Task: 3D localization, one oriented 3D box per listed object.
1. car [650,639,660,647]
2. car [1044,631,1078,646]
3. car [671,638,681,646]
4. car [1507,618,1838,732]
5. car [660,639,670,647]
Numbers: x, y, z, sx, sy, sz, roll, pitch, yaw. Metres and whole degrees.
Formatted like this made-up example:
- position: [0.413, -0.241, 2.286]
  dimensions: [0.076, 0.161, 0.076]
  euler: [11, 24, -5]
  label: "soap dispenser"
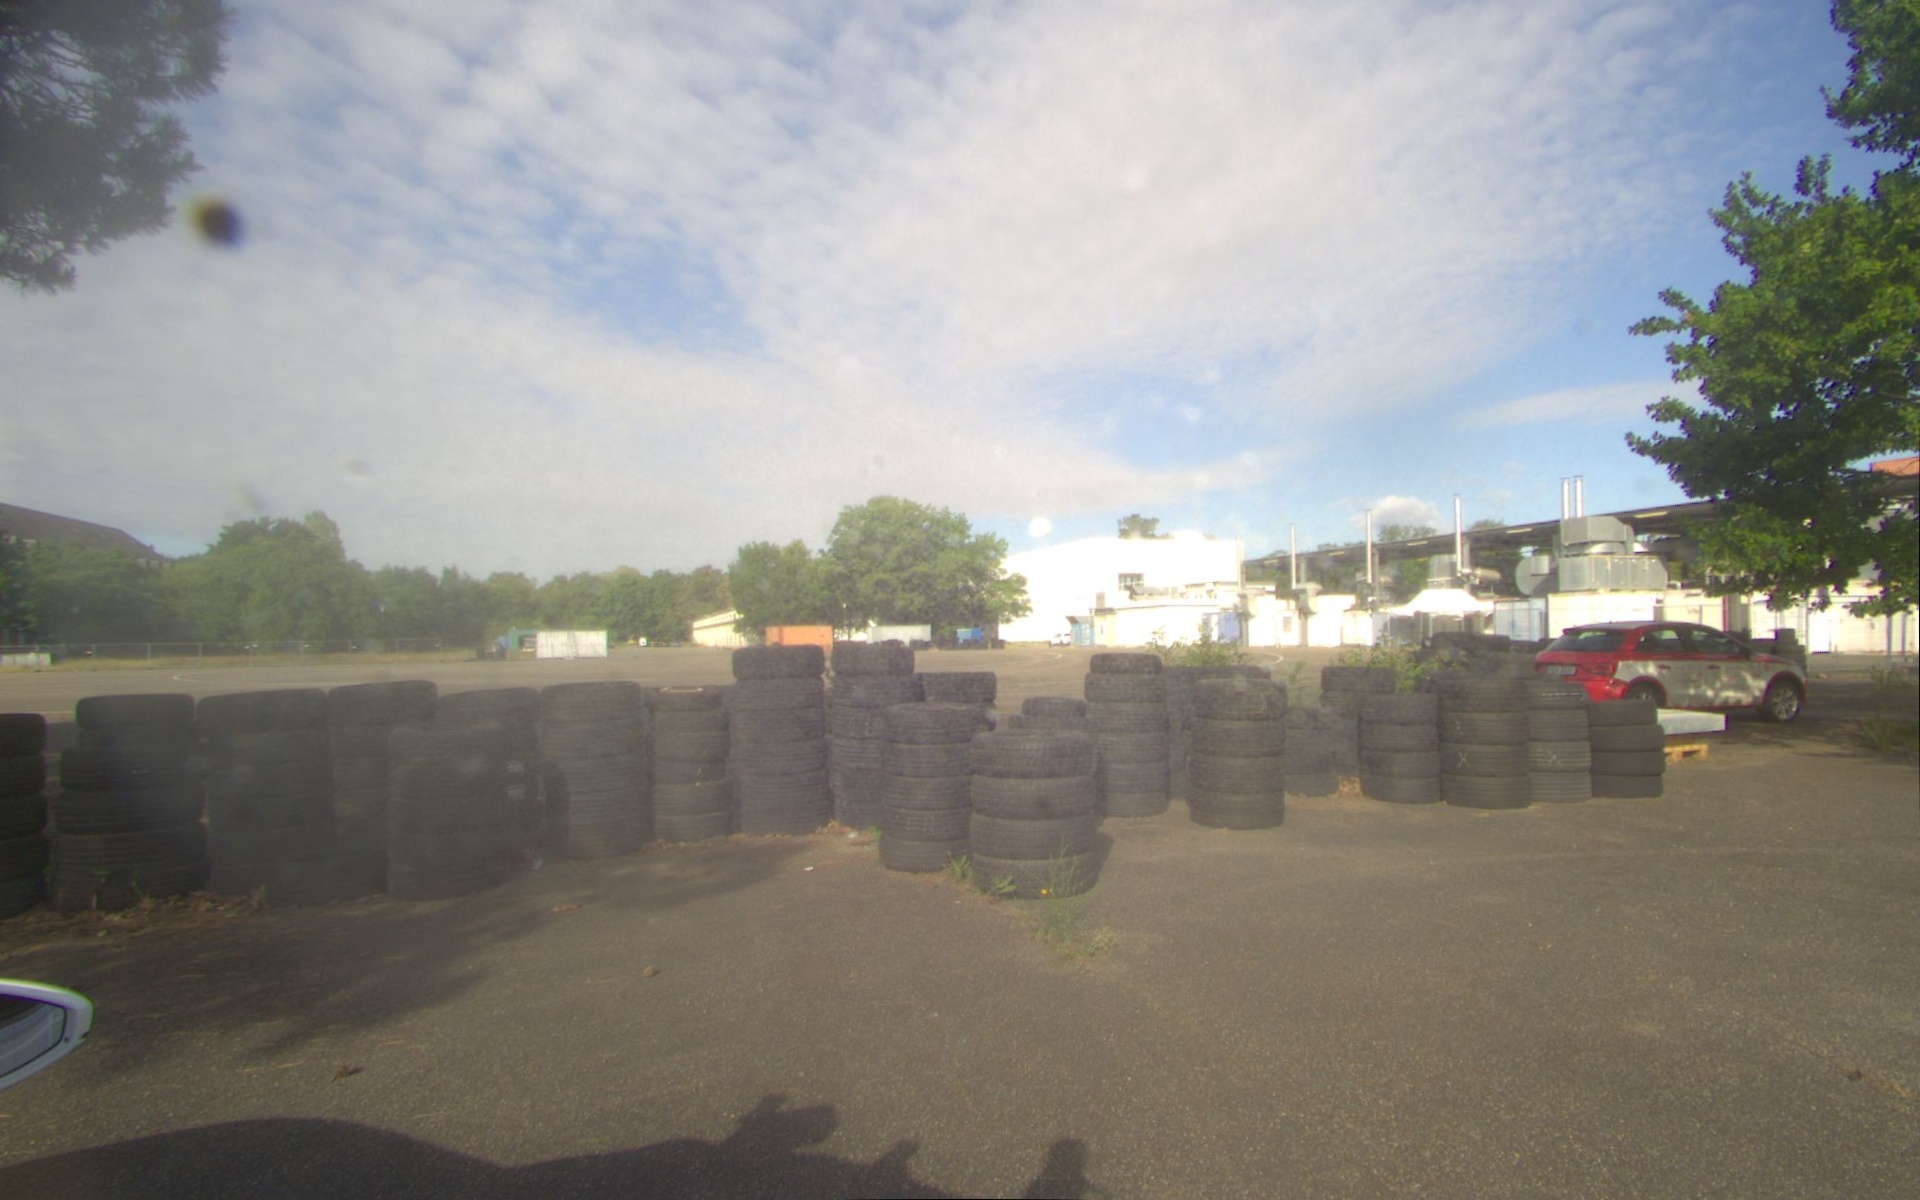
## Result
- position: [-71.529, 10.104, 234.927]
  dimensions: [1.967, 1.772, 3.990]
  euler: [0, -2, -22]
  label: "car"
- position: [11.108, 4.282, 110.169]
  dimensions: [1.843, 1.584, 4.537]
  euler: [0, -2, -21]
  label: "car"
- position: [-67.125, 9.976, 236.702]
  dimensions: [1.967, 1.772, 3.990]
  euler: [0, -2, -22]
  label: "car"
- position: [10.295, 1.027, 14.560]
  dimensions: [3.926, 1.483, 1.727]
  euler: [0, -2, -13]
  label: "car"
- position: [-69.481, 10.077, 235.857]
  dimensions: [2.004, 1.831, 3.990]
  euler: [0, -2, -22]
  label: "car"
